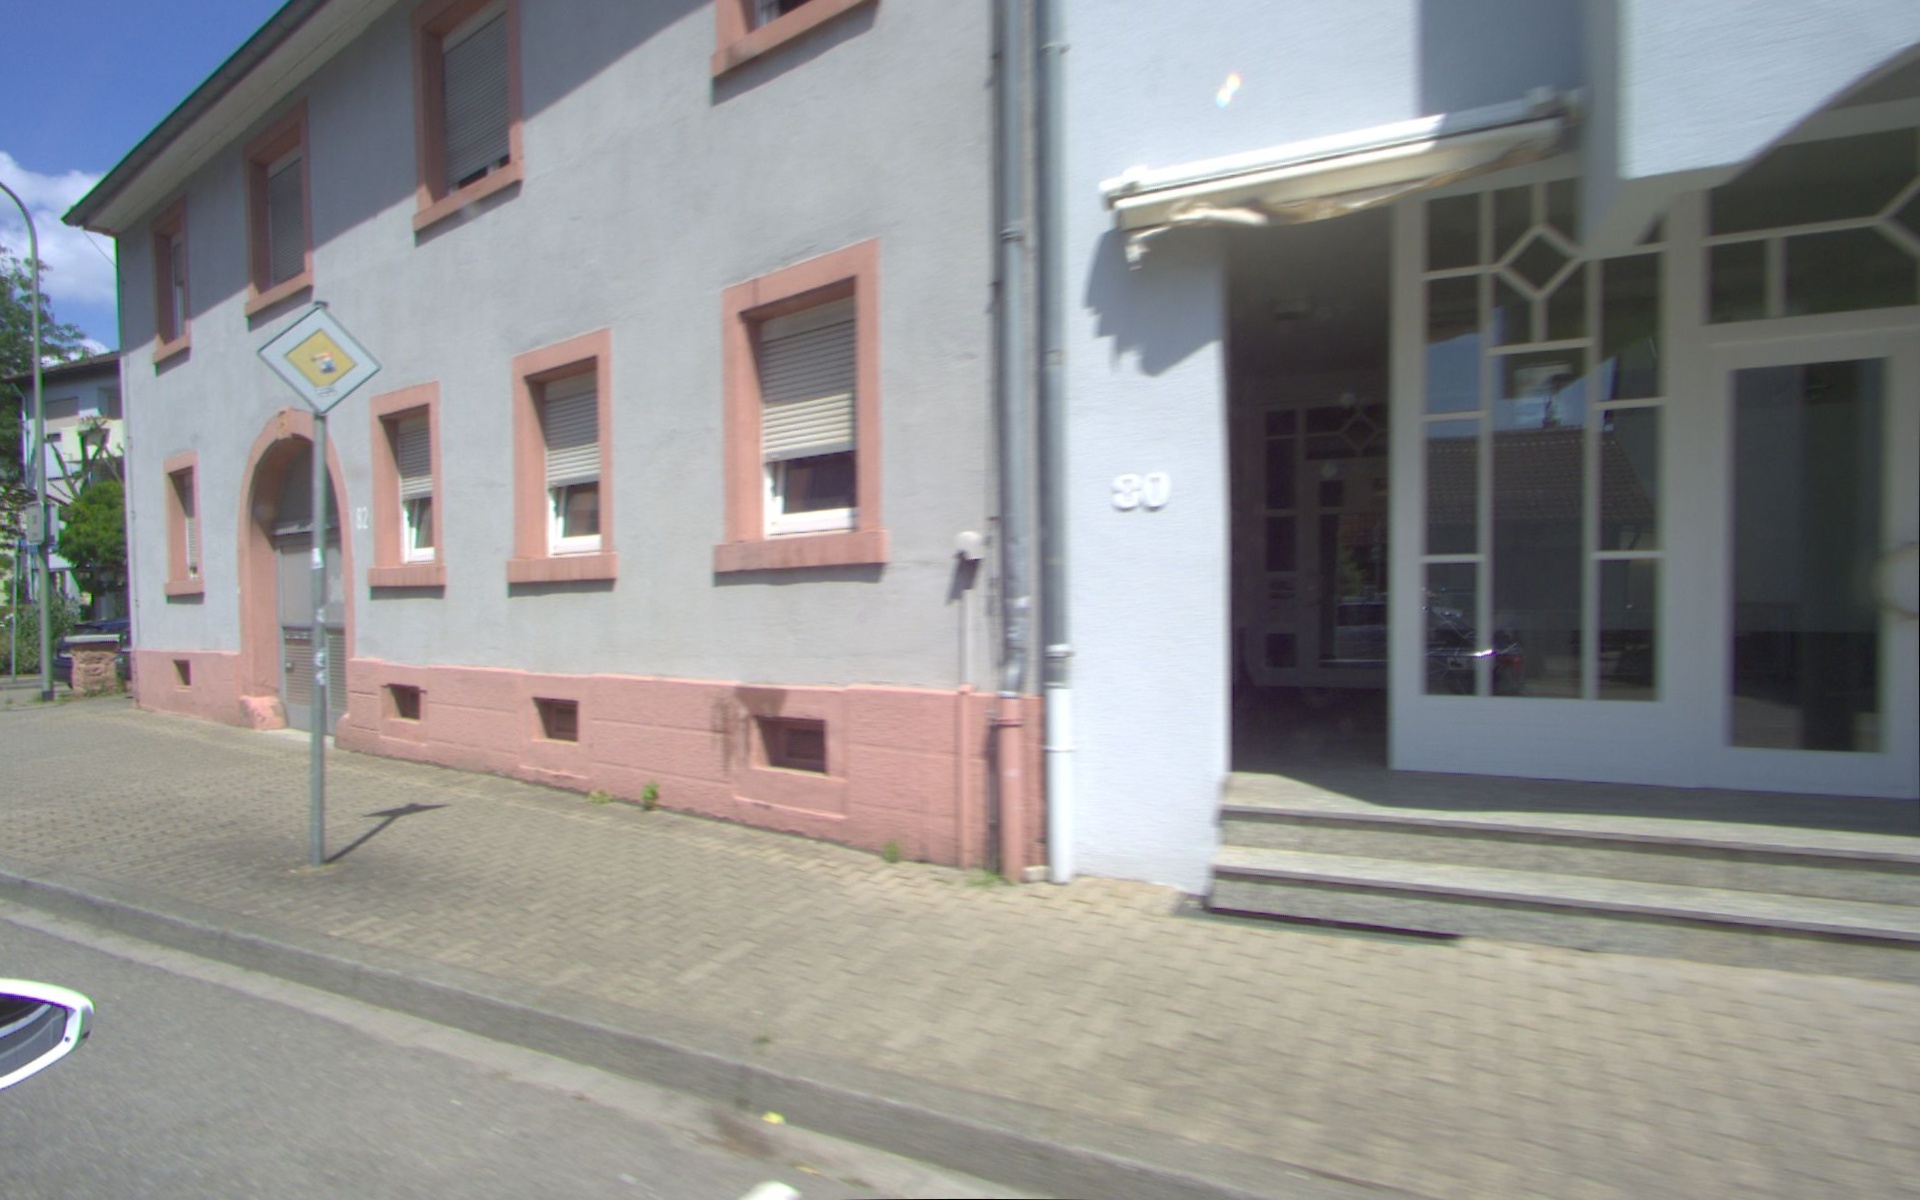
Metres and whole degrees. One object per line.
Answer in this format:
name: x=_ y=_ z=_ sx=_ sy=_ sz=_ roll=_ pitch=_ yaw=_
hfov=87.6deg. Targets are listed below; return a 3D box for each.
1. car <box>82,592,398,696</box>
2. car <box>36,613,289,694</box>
car: x=-12.749 y=0.704 z=18.036 sx=1.717 sy=1.550 sz=4.259 roll=-2 pitch=1 yaw=31
car: x=-15.824 y=1.022 z=20.048 sx=1.715 sy=1.467 sz=3.597 roll=-1 pitch=-2 yaw=27
